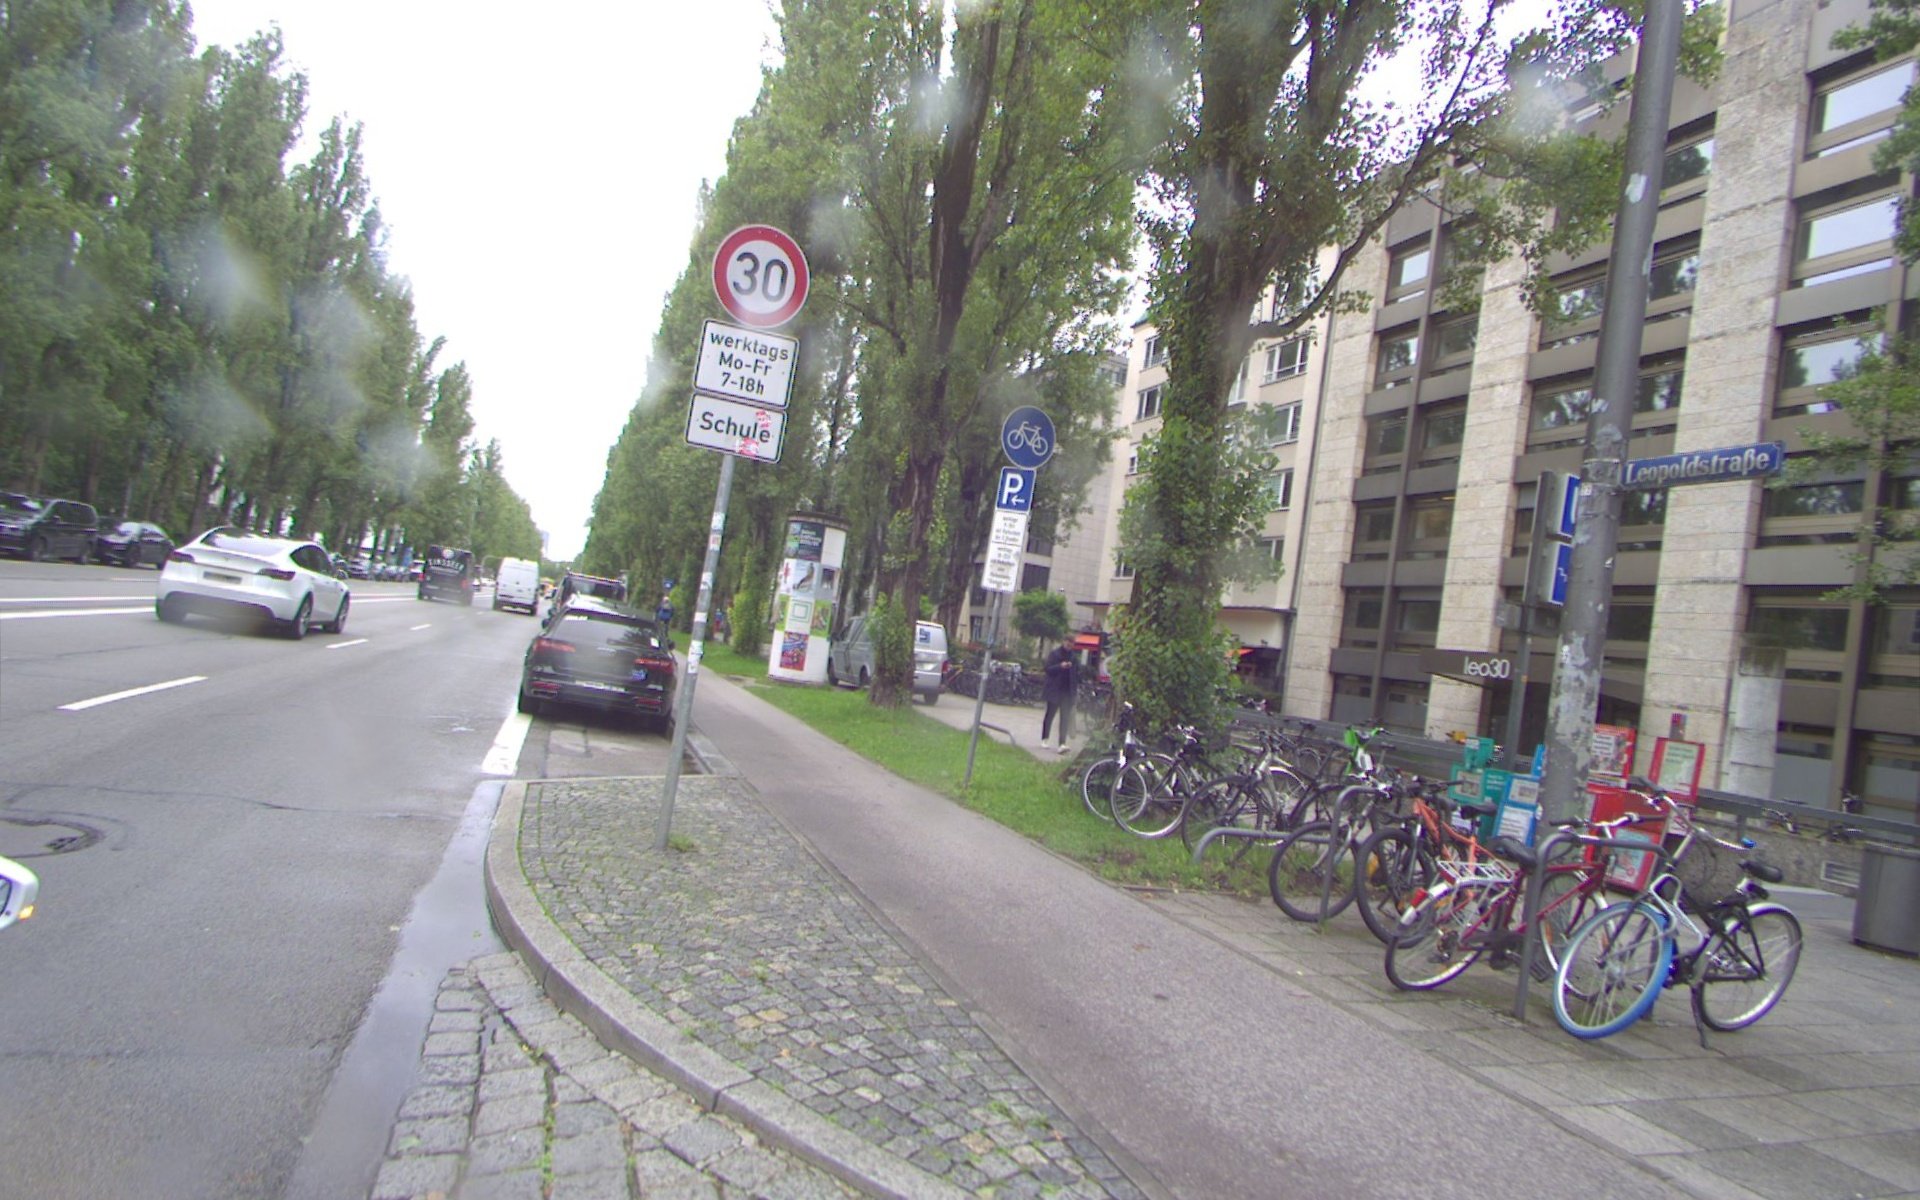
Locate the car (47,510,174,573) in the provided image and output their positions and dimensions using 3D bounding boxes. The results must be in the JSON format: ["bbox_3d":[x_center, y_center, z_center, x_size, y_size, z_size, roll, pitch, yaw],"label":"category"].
[{"bbox_3d":[-28.972,-1.932,34.496,1.976,1.624,4.330,10,-3,-24],"label":"car"}]

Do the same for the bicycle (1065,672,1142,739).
[{"bbox_3d":[3.003,2.206,21.262,0.580,1.172,1.977,9,-3,-20],"label":"bicycle"}]

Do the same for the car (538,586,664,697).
[{"bbox_3d":[-6.544,0.708,18.321,1.726,1.542,3.893,11,-4,-20],"label":"car"}]

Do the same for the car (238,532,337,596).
[{"bbox_3d":[-22.356,-1.146,33.629,1.977,1.735,4.731,8,-3,-26],"label":"car"}]

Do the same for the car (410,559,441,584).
[{"bbox_3d":[-55.889,-2.964,105.215,1.974,2.143,4.976,9,-2,-21],"label":"car"}]

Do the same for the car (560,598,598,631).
[{"bbox_3d":[-22.993,0.853,60.607,1.728,1.660,3.932,11,-4,-23],"label":"car"}]

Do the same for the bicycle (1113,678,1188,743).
[{"bbox_3d":[4.137,2.396,21.970,0.580,1.172,1.862,9,-3,-20],"label":"bicycle"}]

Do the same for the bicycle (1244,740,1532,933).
[{"bbox_3d":[2.841,1.571,6.641,1.851,1.062,0.474,9,-2,-21],"label":"bicycle"}]

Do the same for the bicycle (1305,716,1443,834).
[{"bbox_3d":[5.176,2.162,12.720,0.578,1.172,1.868,9,-3,-10],"label":"bicycle"}]

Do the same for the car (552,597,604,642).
[{"bbox_3d":[-16.582,0.816,43.600,1.728,1.607,3.932,11,-4,-23],"label":"car"}]

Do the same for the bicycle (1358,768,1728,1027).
[{"bbox_3d":[2.984,1.523,5.108,1.852,1.062,0.474,10,-3,-21],"label":"bicycle"}]

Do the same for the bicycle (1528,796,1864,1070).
[{"bbox_3d":[3.610,1.584,4.881,1.856,1.062,0.473,10,-2,-28],"label":"bicycle"}]

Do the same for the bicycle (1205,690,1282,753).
[{"bbox_3d":[6.447,2.749,22.967,0.580,1.172,1.862,9,-3,-20],"label":"bicycle"}]

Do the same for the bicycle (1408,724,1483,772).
[{"bbox_3d":[14.877,4.532,30.808,2.218,1.168,0.645,10,-3,-23],"label":"bicycle"}]

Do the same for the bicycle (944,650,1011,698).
[{"bbox_3d":[0.530,2.285,31.009,1.844,1.172,0.585,10,-3,-20],"label":"bicycle"}]

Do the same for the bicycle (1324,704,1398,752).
[{"bbox_3d":[12.502,3.996,31.314,2.218,1.168,0.645,10,-3,-23],"label":"bicycle"}]

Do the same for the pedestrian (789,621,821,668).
[{"bbox_3d":[-6.344,1.827,41.036,0.899,1.771,0.857,9,-2,-21],"label":"pedestrian"}]

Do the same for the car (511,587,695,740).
[{"bbox_3d":[-4.655,0.764,13.379,1.732,1.442,4.435,11,-4,-18],"label":"car"}]

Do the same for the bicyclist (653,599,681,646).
[{"bbox_3d":[-10.730,0.817,36.813,0.715,1.638,0.753,7,-1,-22],"label":"bicyclist"}]

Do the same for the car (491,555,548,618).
[{"bbox_3d":[-22.355,-0.641,51.270,2.021,2.679,6.015,11,-3,-21],"label":"car"}]

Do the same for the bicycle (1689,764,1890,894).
[{"bbox_3d":[10.972,2.997,13.387,0.712,1.290,1.862,9,-3,-20],"label":"bicycle"}]

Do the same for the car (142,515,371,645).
[{"bbox_3d":[-11.727,-0.286,17.187,1.975,1.591,4.618,11,-4,-21],"label":"car"}]

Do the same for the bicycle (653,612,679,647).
[{"bbox_3d":[-10.764,1.076,36.835,0.709,1.160,1.894,6,-3,-20],"label":"bicycle"}]

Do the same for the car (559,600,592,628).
[{"bbox_3d":[-26.019,0.922,68.046,1.728,1.562,3.932,11,-4,-23],"label":"car"}]

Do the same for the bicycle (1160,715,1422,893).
[{"bbox_3d":[2.520,1.551,7.599,1.906,1.117,0.511,9,-2,-23],"label":"bicycle"}]

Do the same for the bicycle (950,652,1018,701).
[{"bbox_3d":[0.722,2.311,30.478,1.845,1.172,0.585,10,-2,-20],"label":"bicycle"}]

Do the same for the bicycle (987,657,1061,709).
[{"bbox_3d":[1.802,2.343,28.232,1.844,1.172,0.585,10,-2,-20],"label":"bicycle"}]

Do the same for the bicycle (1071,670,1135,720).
[{"bbox_3d":[4.122,2.750,29.197,0.583,1.172,1.851,10,-3,-35],"label":"bicycle"}]

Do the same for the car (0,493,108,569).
[{"bbox_3d":[-27.033,-2.033,29.159,1.975,1.816,4.740,10,-3,-22],"label":"car"}]

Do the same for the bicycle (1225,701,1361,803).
[{"bbox_3d":[4.856,2.204,14.780,0.582,1.172,1.856,9,-3,-30],"label":"bicycle"}]

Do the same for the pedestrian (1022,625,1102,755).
[{"bbox_3d":[1.639,1.433,16.294,0.706,1.950,0.901,8,-2,-21],"label":"pedestrian"}]

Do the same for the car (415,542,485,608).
[{"bbox_3d":[-24.076,-1.106,47.709,2.057,2.582,5.905,11,-4,-22],"label":"car"}]

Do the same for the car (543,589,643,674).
[{"bbox_3d":[-8.685,0.686,23.604,1.728,1.542,4.214,11,-4,-23],"label":"car"}]

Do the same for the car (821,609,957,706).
[{"bbox_3d":[-1.929,1.352,25.342,1.791,1.917,5.182,9,-3,-20],"label":"car"}]

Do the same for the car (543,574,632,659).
[{"bbox_3d":[-10.842,0.441,29.053,1.894,1.944,5.016,11,-4,-23],"label":"car"}]

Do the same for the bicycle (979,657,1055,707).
[{"bbox_3d":[1.641,2.358,28.918,2.004,1.173,0.585,8,-2,-20],"label":"bicycle"}]

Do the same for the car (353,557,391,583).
[{"bbox_3d":[-44.371,-2.263,75.974,1.744,1.596,3.446,9,-3,-21],"label":"car"}]

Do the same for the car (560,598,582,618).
[{"bbox_3d":[-40.376,0.819,104.432,1.728,1.660,3.932,11,-4,-23],"label":"car"}]

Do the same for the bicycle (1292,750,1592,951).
[{"bbox_3d":[3.054,1.586,6.332,1.851,1.062,0.474,9,-2,-21],"label":"bicycle"}]

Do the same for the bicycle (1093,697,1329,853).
[{"bbox_3d":[2.097,1.457,8.389,1.807,1.050,0.512,9,-2,-17],"label":"bicycle"}]

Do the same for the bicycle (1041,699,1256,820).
[{"bbox_3d":[1.692,1.428,8.990,1.807,0.827,0.470,9,-2,-17],"label":"bicycle"}]

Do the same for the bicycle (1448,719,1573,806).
[{"bbox_3d":[9.489,2.783,17.418,0.580,1.172,1.862,9,-3,-20],"label":"bicycle"}]

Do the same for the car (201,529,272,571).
[{"bbox_3d":[-33.897,-2.318,47.222,1.927,1.596,3.587,10,-2,-26],"label":"car"}]

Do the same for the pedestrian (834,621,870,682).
[{"bbox_3d":[-3.416,1.622,31.870,0.739,1.822,0.841,9,-2,-17],"label":"pedestrian"}]
